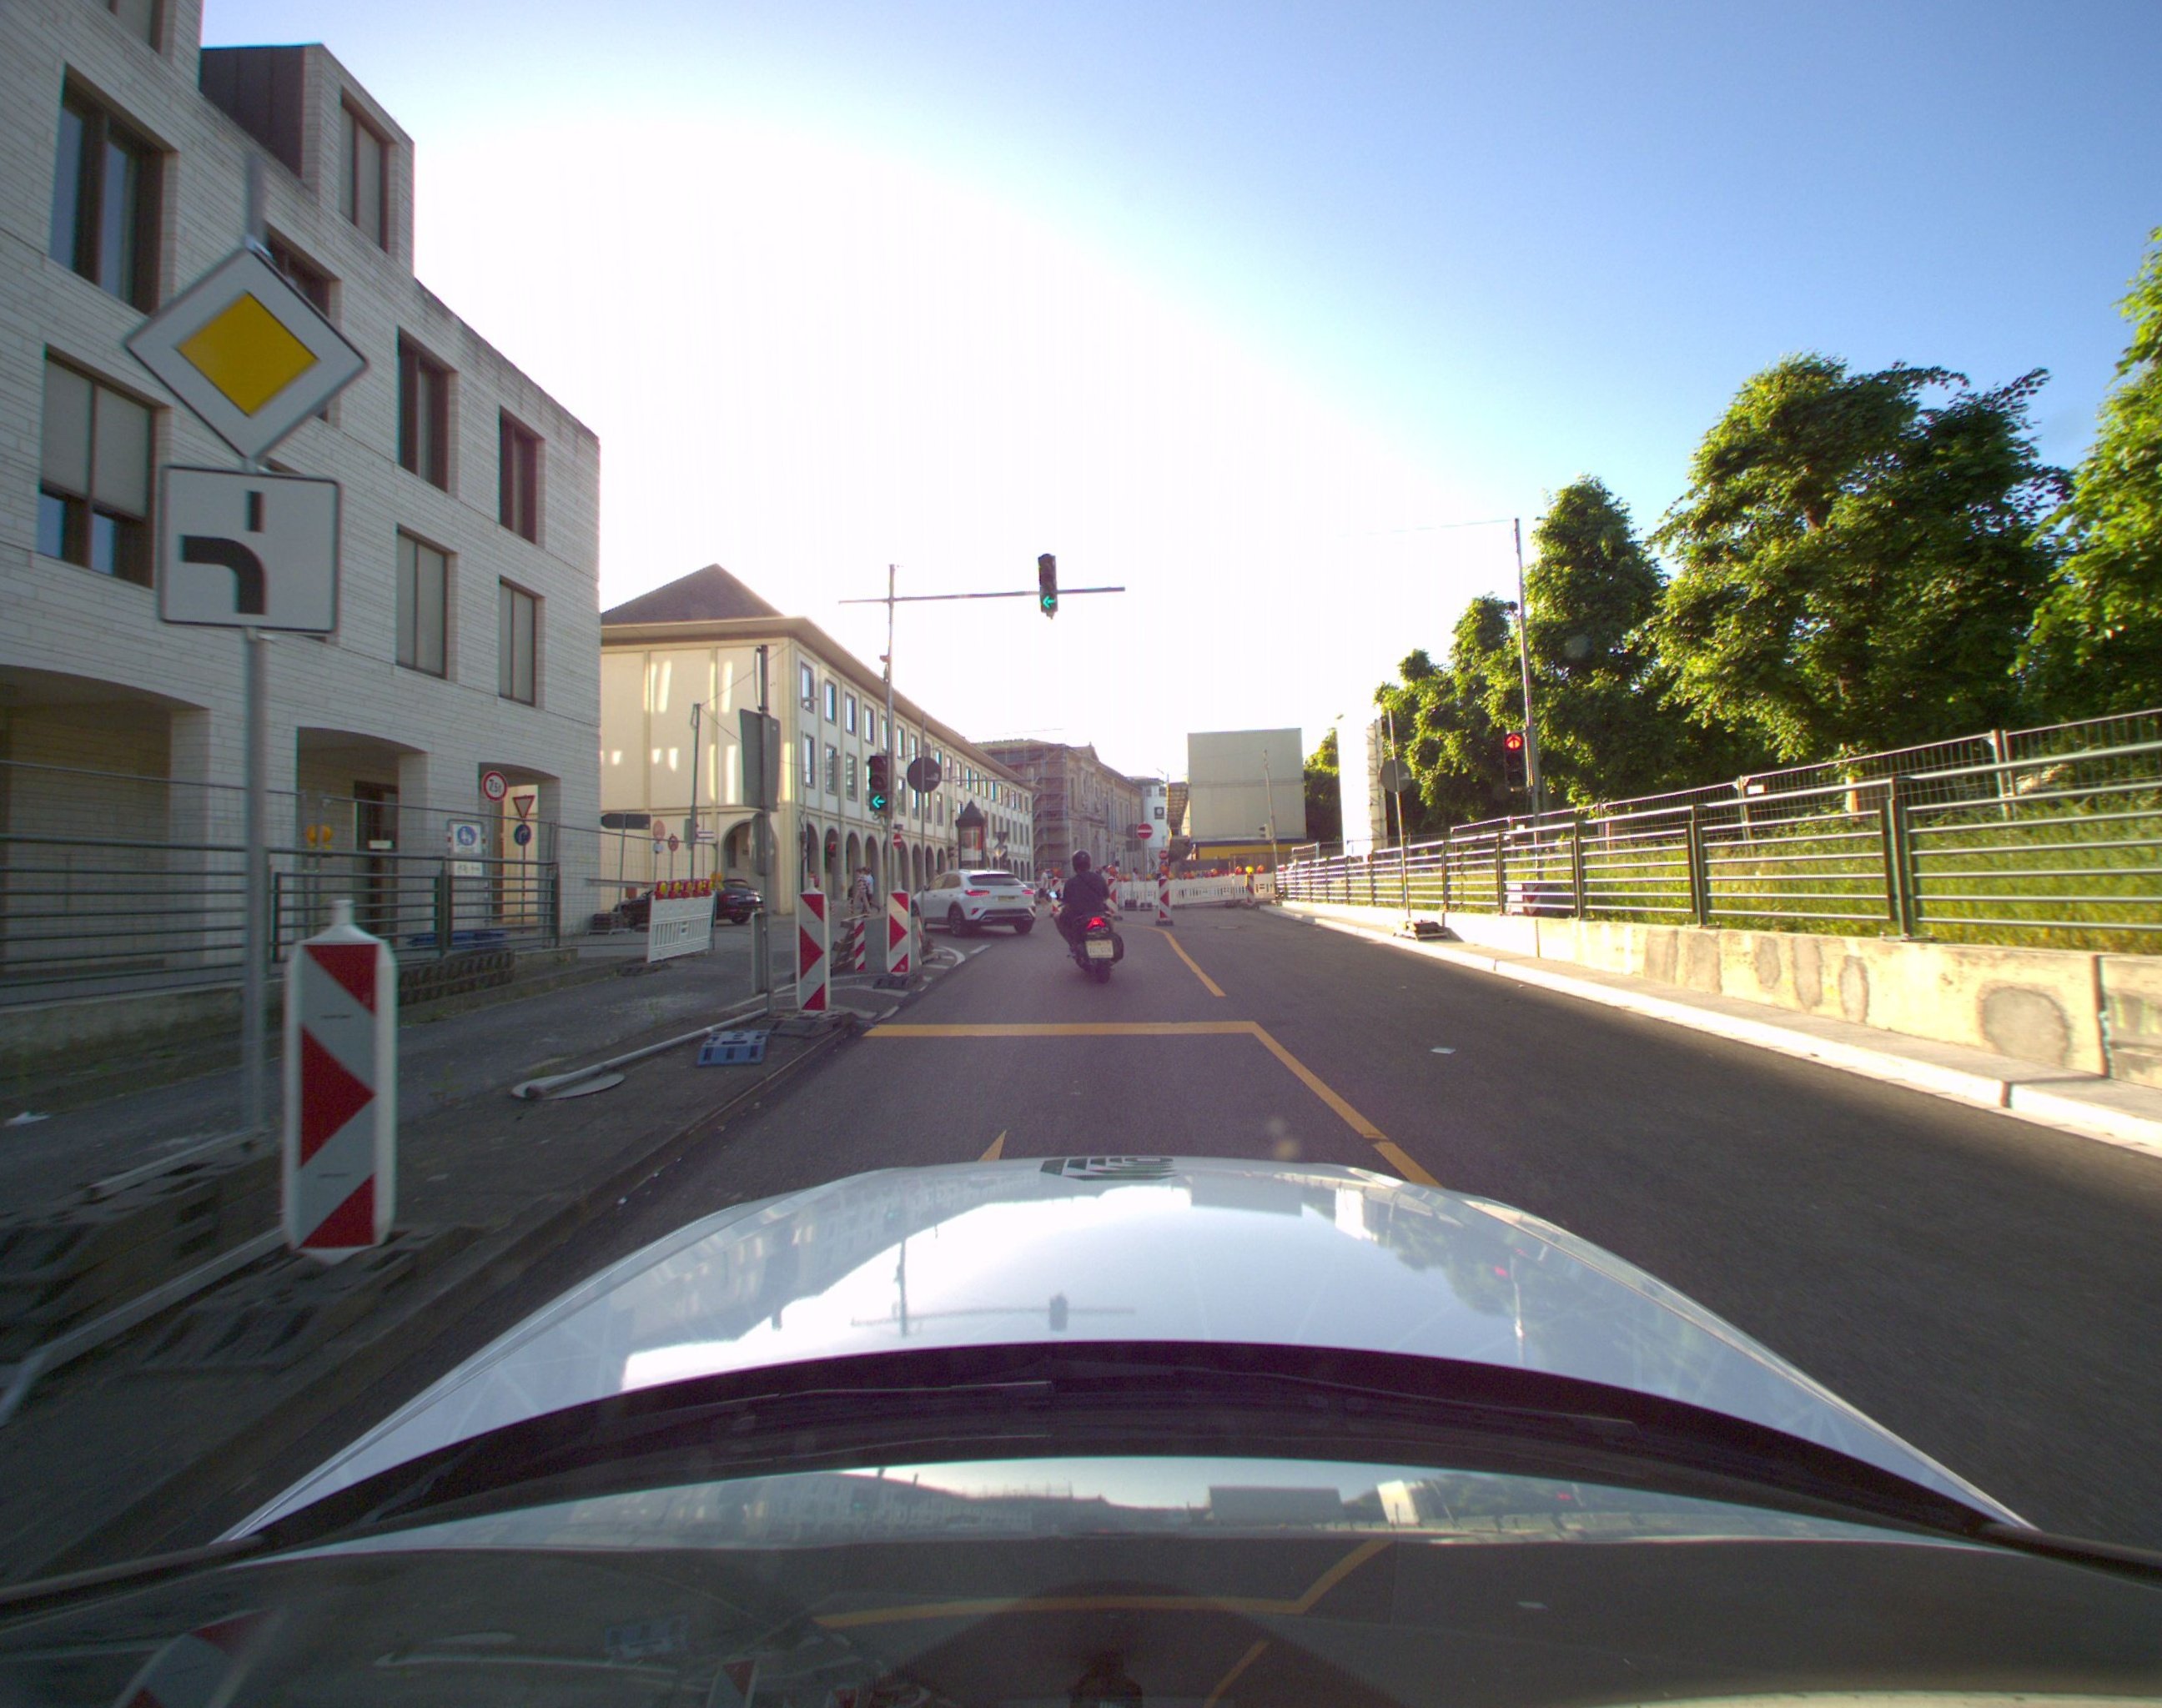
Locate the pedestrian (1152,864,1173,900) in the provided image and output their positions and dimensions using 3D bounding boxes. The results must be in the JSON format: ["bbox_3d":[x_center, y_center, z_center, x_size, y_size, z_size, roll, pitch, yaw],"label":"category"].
[{"bbox_3d":[3.436,1.167,34.207,0.764,1.462,0.667,-3,-2,6],"label":"pedestrian"}]

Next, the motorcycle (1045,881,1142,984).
[{"bbox_3d":[0.099,1.000,11.281,0.905,1.183,2.571,-2,-1,-8],"label":"motorcycle"}]

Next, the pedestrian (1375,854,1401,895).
[{"bbox_3d":[12.457,0.825,33.055,0.733,1.604,0.644,-3,-2,6],"label":"pedestrian"}]

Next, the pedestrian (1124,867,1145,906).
[{"bbox_3d":[2.278,1.366,34.376,0.764,1.619,0.667,-3,-2,6],"label":"pedestrian"}]

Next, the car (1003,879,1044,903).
[{"bbox_3d":[-3.672,2.411,52.805,1.914,1.467,4.007,-1,-4,7],"label":"car"}]

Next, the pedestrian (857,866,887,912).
[{"bbox_3d":[-8.356,1.379,32.563,0.934,1.777,0.712,-2,0,3],"label":"pedestrian"}]

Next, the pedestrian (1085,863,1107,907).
[{"bbox_3d":[0.607,1.235,32.917,0.733,1.716,0.623,-3,-2,6],"label":"pedestrian"}]

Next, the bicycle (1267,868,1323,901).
[{"bbox_3d":[8.194,1.180,31.214,1.982,1.201,0.478,-2,-2,5],"label":"bicycle"}]

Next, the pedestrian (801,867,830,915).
[{"bbox_3d":[-10.178,1.405,31.229,0.770,1.801,0.712,-2,0,3],"label":"pedestrian"}]

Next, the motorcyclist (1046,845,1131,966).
[{"bbox_3d":[0.076,0.679,11.280,0.953,1.559,1.235,-2,-1,-9],"label":"motorcyclist"}]

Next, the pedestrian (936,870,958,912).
[{"bbox_3d":[-5.283,1.458,32.100,0.721,1.624,0.620,-1,0,3],"label":"pedestrian"}]

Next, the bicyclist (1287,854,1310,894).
[{"bbox_3d":[8.341,0.772,31.235,0.698,1.516,0.687,-2,-2,6],"label":"bicyclist"}]

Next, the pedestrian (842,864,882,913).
[{"bbox_3d":[-8.412,1.330,31.276,1.238,1.801,0.717,-2,0,3],"label":"pedestrian"}]

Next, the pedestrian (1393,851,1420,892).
[{"bbox_3d":[12.872,0.688,32.200,0.749,1.566,0.657,-1,-3,-44],"label":"pedestrian"}]

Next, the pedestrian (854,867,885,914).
[{"bbox_3d":[-8.285,1.418,31.917,0.934,1.777,0.712,-2,0,3],"label":"pedestrian"}]

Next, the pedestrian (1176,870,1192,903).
[{"bbox_3d":[4.043,1.277,32.037,0.615,1.300,0.494,0,-2,6],"label":"pedestrian"}]

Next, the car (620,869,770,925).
[{"bbox_3d":[-11.768,1.313,24.868,4.058,1.550,1.789,-3,-2,21],"label":"car"}]

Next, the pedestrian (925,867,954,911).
[{"bbox_3d":[-5.706,1.406,32.877,0.961,1.709,0.676,-1,0,3],"label":"pedestrian"}]

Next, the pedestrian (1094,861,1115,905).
[{"bbox_3d":[0.987,1.182,33.682,0.733,1.771,0.623,-3,-2,6],"label":"pedestrian"}]

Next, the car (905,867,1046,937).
[{"bbox_3d":[-2.609,1.060,19.377,1.871,1.472,3.960,1,-1,-32],"label":"car"}]

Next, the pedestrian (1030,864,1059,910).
[{"bbox_3d":[-1.435,1.293,32.020,0.970,1.729,0.799,-3,-3,3],"label":"pedestrian"}]
